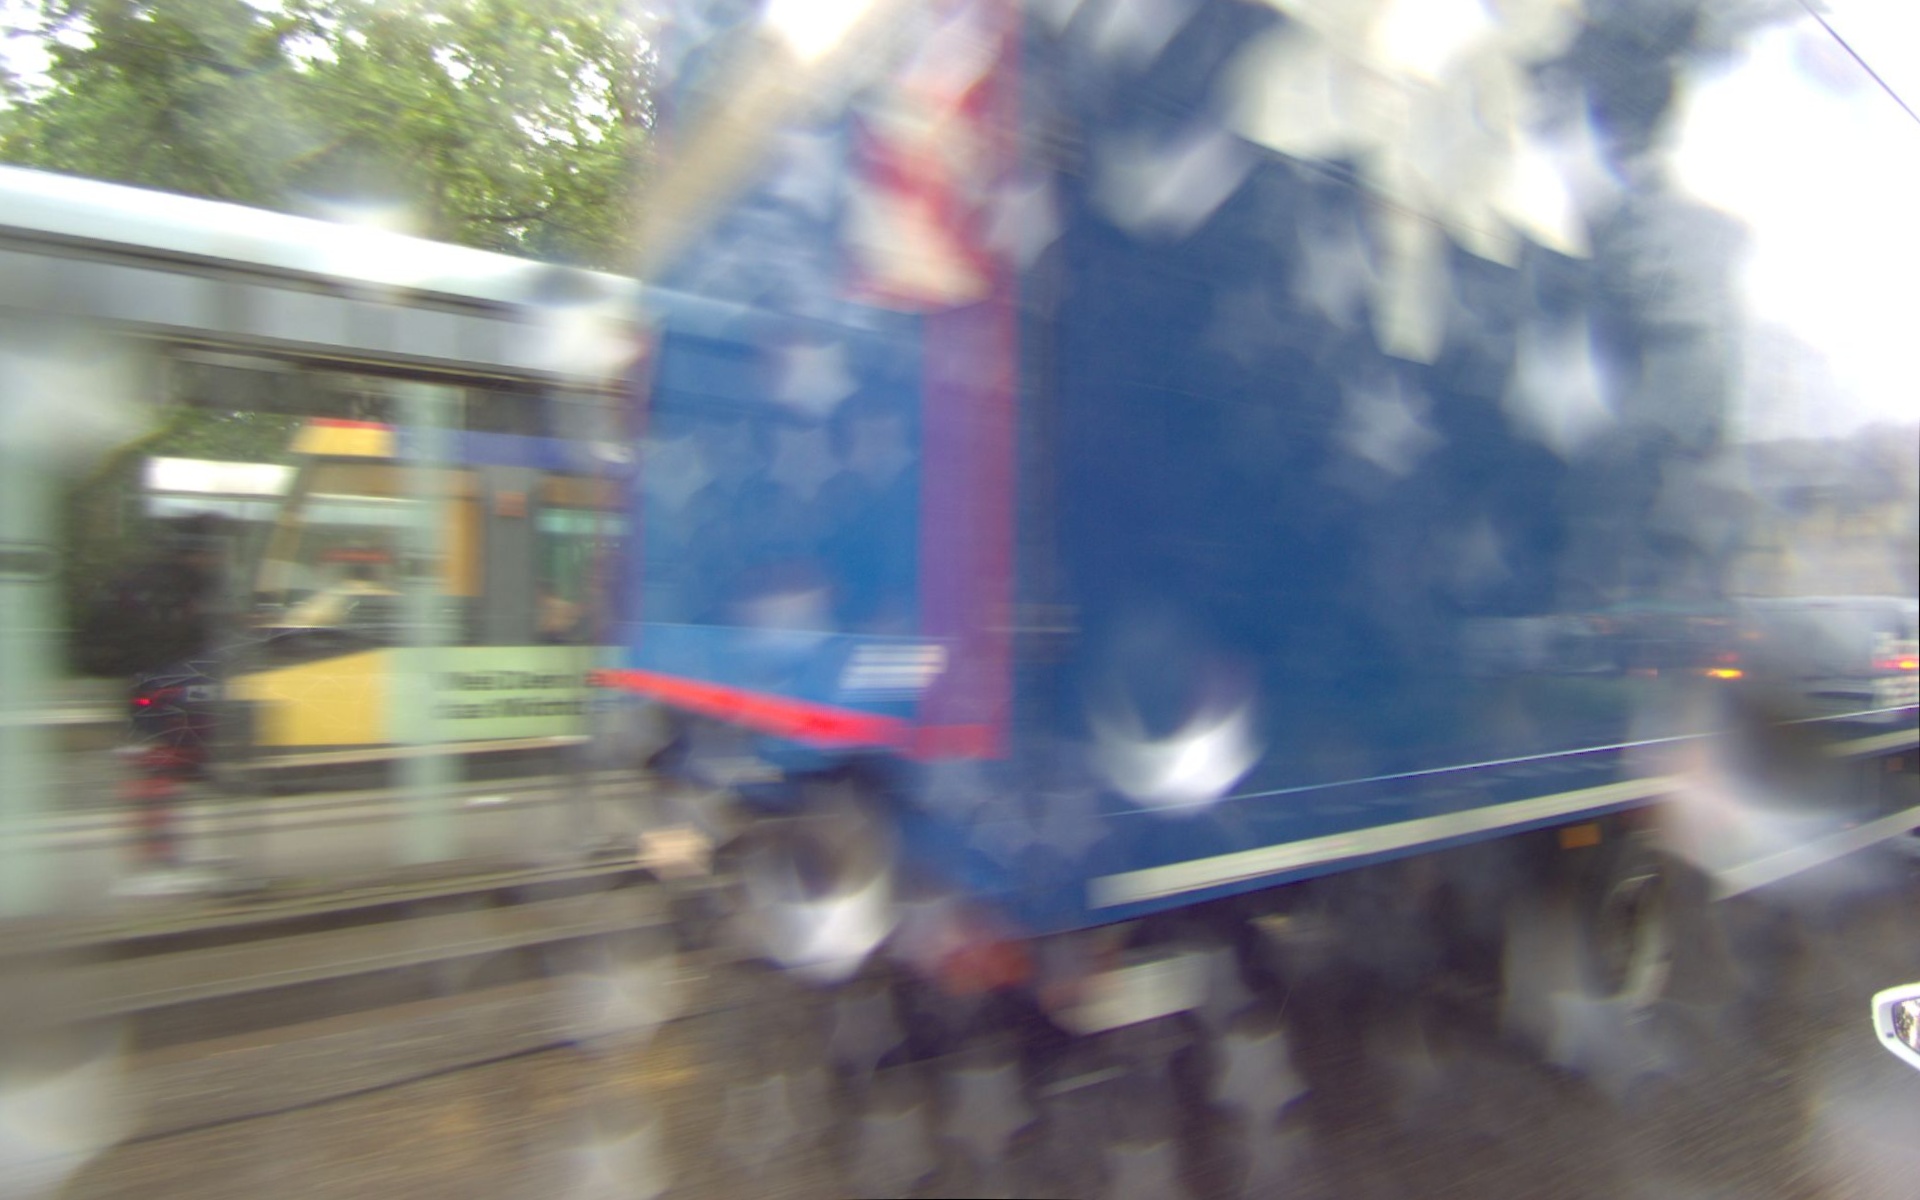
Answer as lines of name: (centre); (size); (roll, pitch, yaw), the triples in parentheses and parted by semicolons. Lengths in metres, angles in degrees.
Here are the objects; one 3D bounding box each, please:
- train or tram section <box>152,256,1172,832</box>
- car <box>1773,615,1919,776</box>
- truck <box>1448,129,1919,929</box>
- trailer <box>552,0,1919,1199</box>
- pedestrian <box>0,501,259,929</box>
train or tram section: (-2.039, -0.272, 9.358); (8.273, 3.329, 2.943); (0, -2, -34)
car: (10.904, 0.937, 10.980); (4.088, 1.558, 1.982); (0, -2, -33)
truck: (5.762, -0.335, 7.034); (3.958, 3.956, 2.565); (1, 0, -34)
trailer: (2.375, -0.400, 4.691); (7.557, 3.952, 2.574); (1, 0, -34)
pedestrian: (-3.390, 0.434, 4.167); (0.766, 1.588, 0.533); (1, -1, -35)
